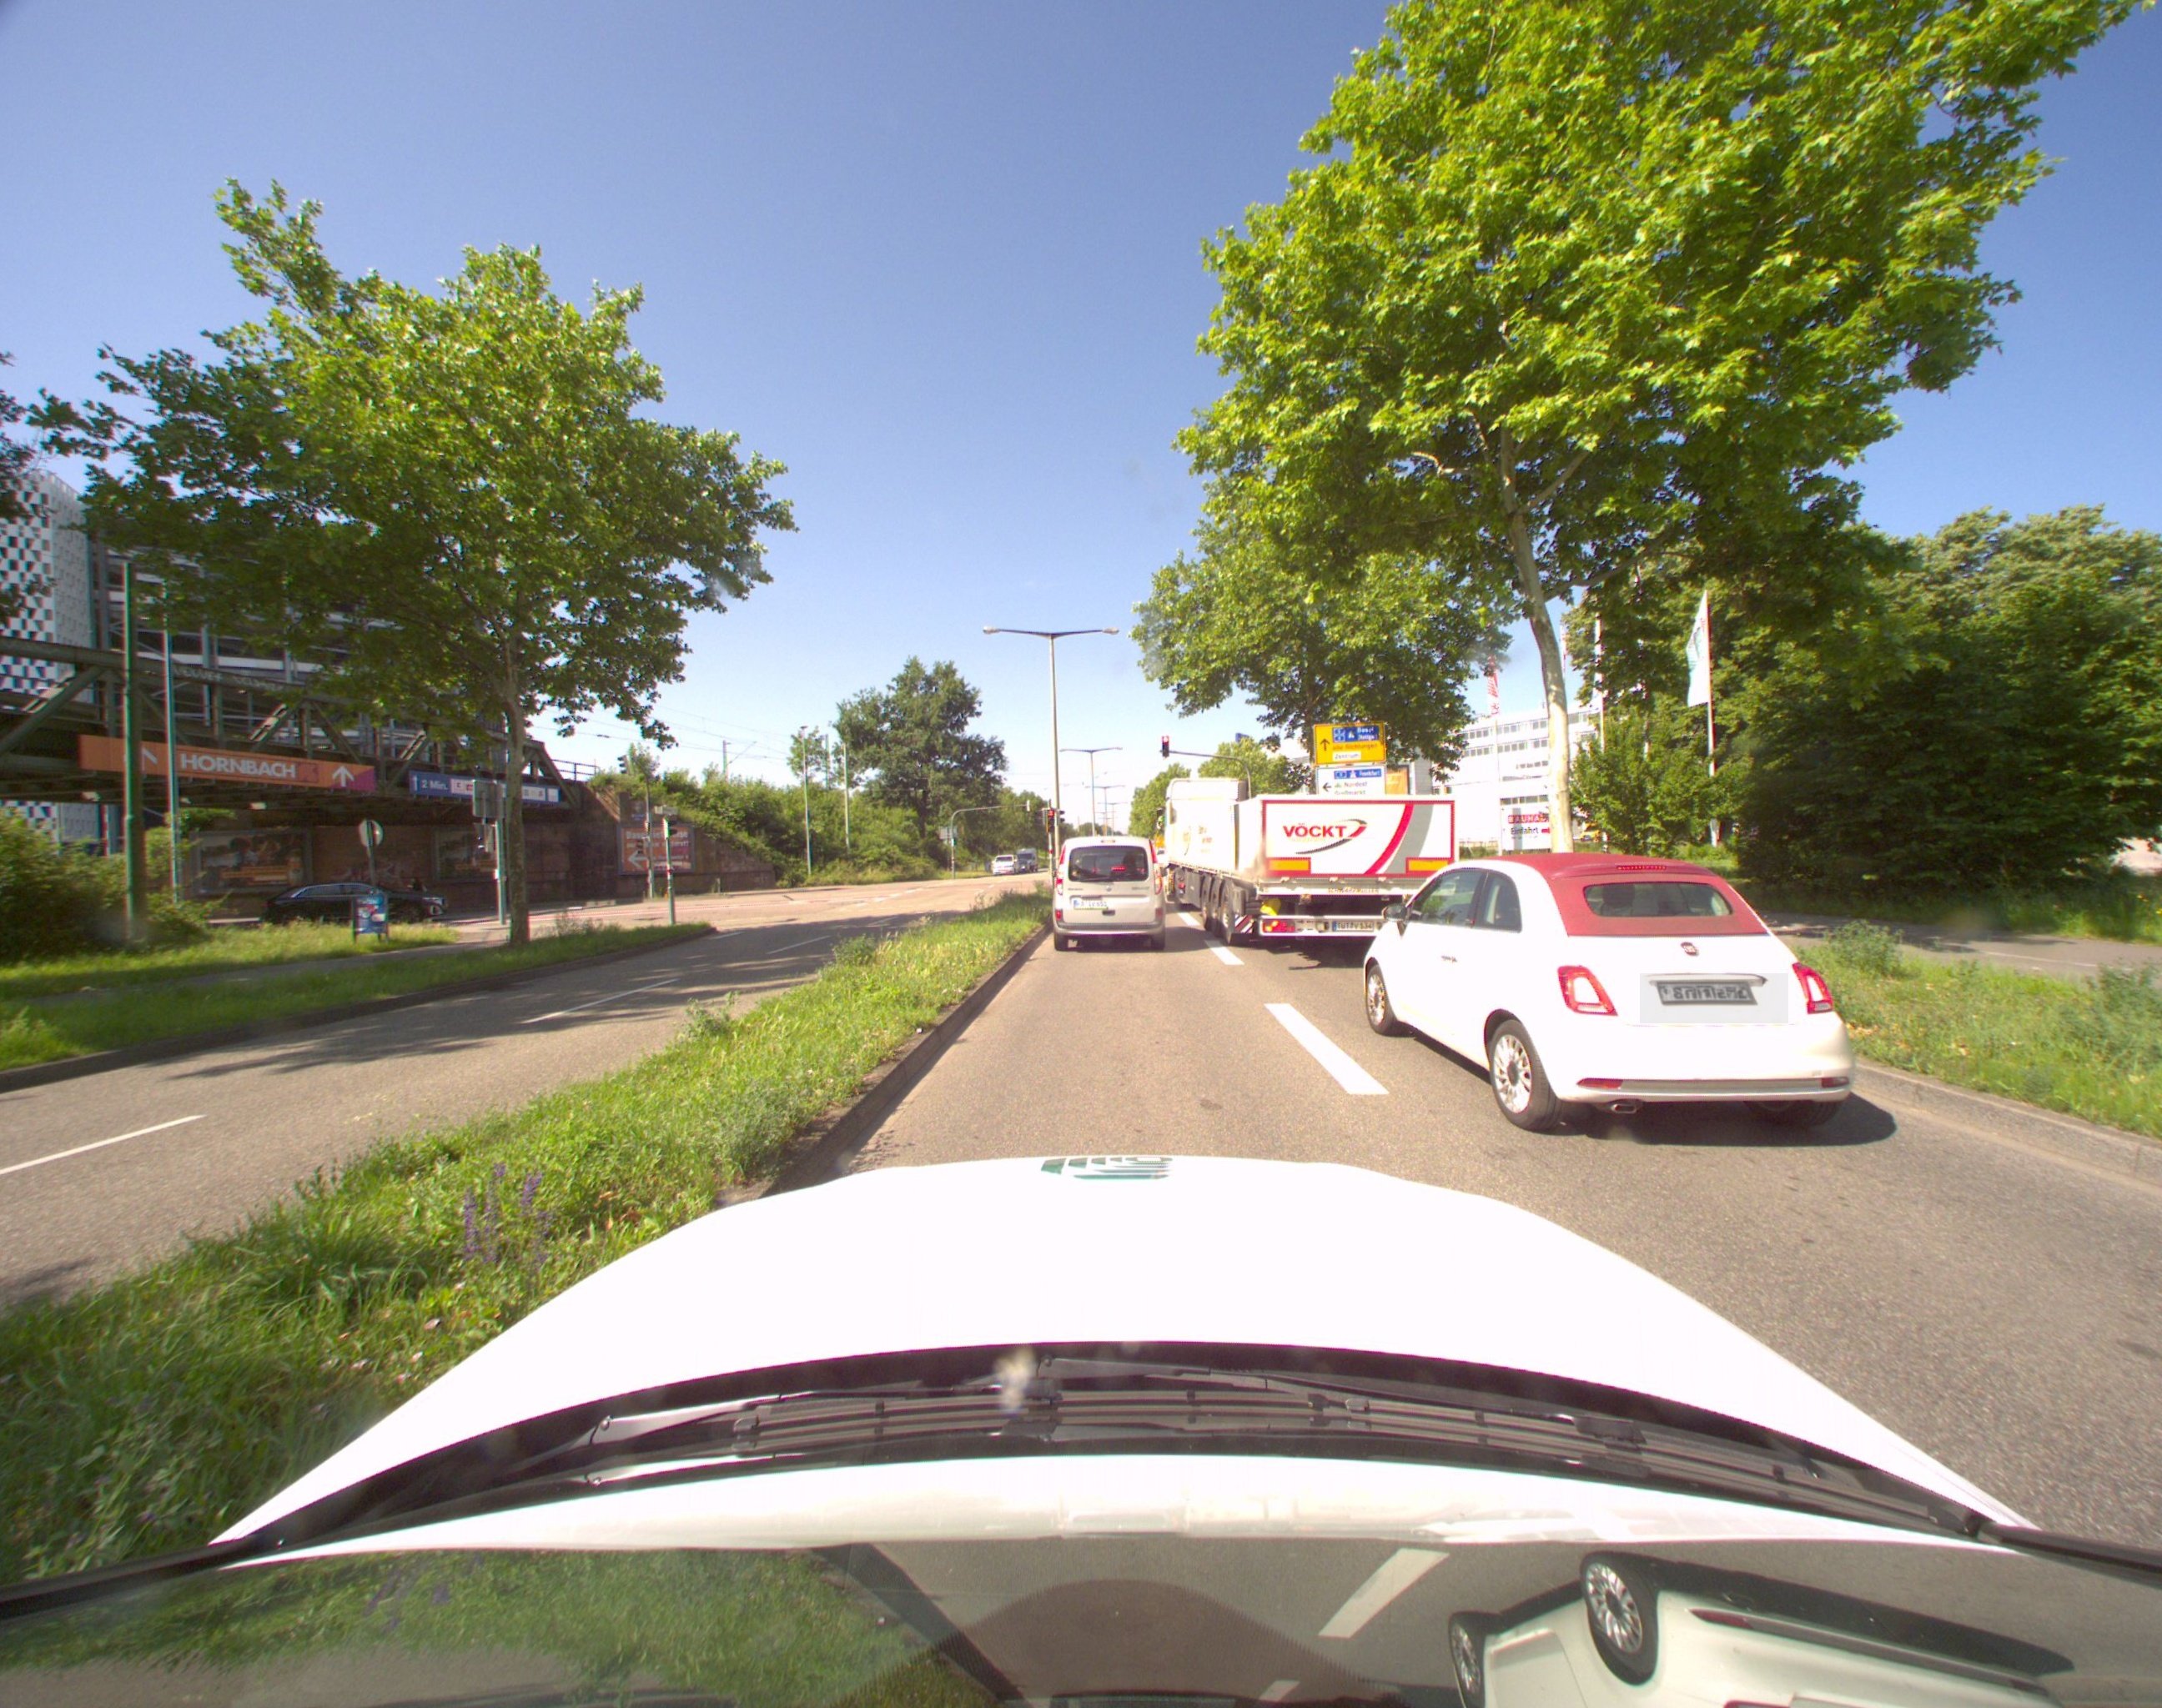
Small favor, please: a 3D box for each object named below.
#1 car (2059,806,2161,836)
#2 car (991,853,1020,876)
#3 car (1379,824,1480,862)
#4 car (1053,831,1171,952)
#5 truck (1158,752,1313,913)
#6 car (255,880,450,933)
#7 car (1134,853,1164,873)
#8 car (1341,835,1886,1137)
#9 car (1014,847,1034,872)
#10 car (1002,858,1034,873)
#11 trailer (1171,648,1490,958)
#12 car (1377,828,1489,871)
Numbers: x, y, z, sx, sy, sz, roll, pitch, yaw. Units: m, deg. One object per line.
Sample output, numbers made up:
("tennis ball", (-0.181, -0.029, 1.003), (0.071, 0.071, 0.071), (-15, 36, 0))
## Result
("car", (58.055, -1.808, 45.606), (1.727, 1.486, 3.962), (-1, 0, -30))
("car", (-6.796, 0.932, 73.765), (1.986, 1.891, 4.989), (-4, 0, 1))
("car", (16.054, -0.489, 37.664), (3.965, 1.662, 1.726), (-1, 0, 7))
("car", (0.527, 0.566, 14.160), (1.742, 1.772, 3.951), (-1, 0, 2))
("truck", (4.004, -0.500, 22.990), (3.060, 3.758, 7.478), (-1, 0, 1))
("car", (-26.017, 1.821, 29.358), (5.074, 1.596, 1.510), (-1, 0, -35))
("car", (5.796, 0.736, 69.446), (1.989, 1.640, 3.995), (-1, 0, -3))
("car", (3.115, 0.647, 5.690), (1.654, 1.436, 3.523), (-1, 0, 3))
("car", (-6.272, 0.646, 90.110), (2.055, 2.614, 5.861), (-1, 0, -4))
("car", (-6.384, 1.181, 82.163), (1.920, 1.409, 4.193), (-1, 0, -25))
("trailer", (3.726, -0.597, 16.106), (3.004, 3.740, 12.247), (-1, 0, 2))
("car", (14.633, -0.170, 34.019), (3.965, 1.662, 1.726), (-1, 0, 7))
